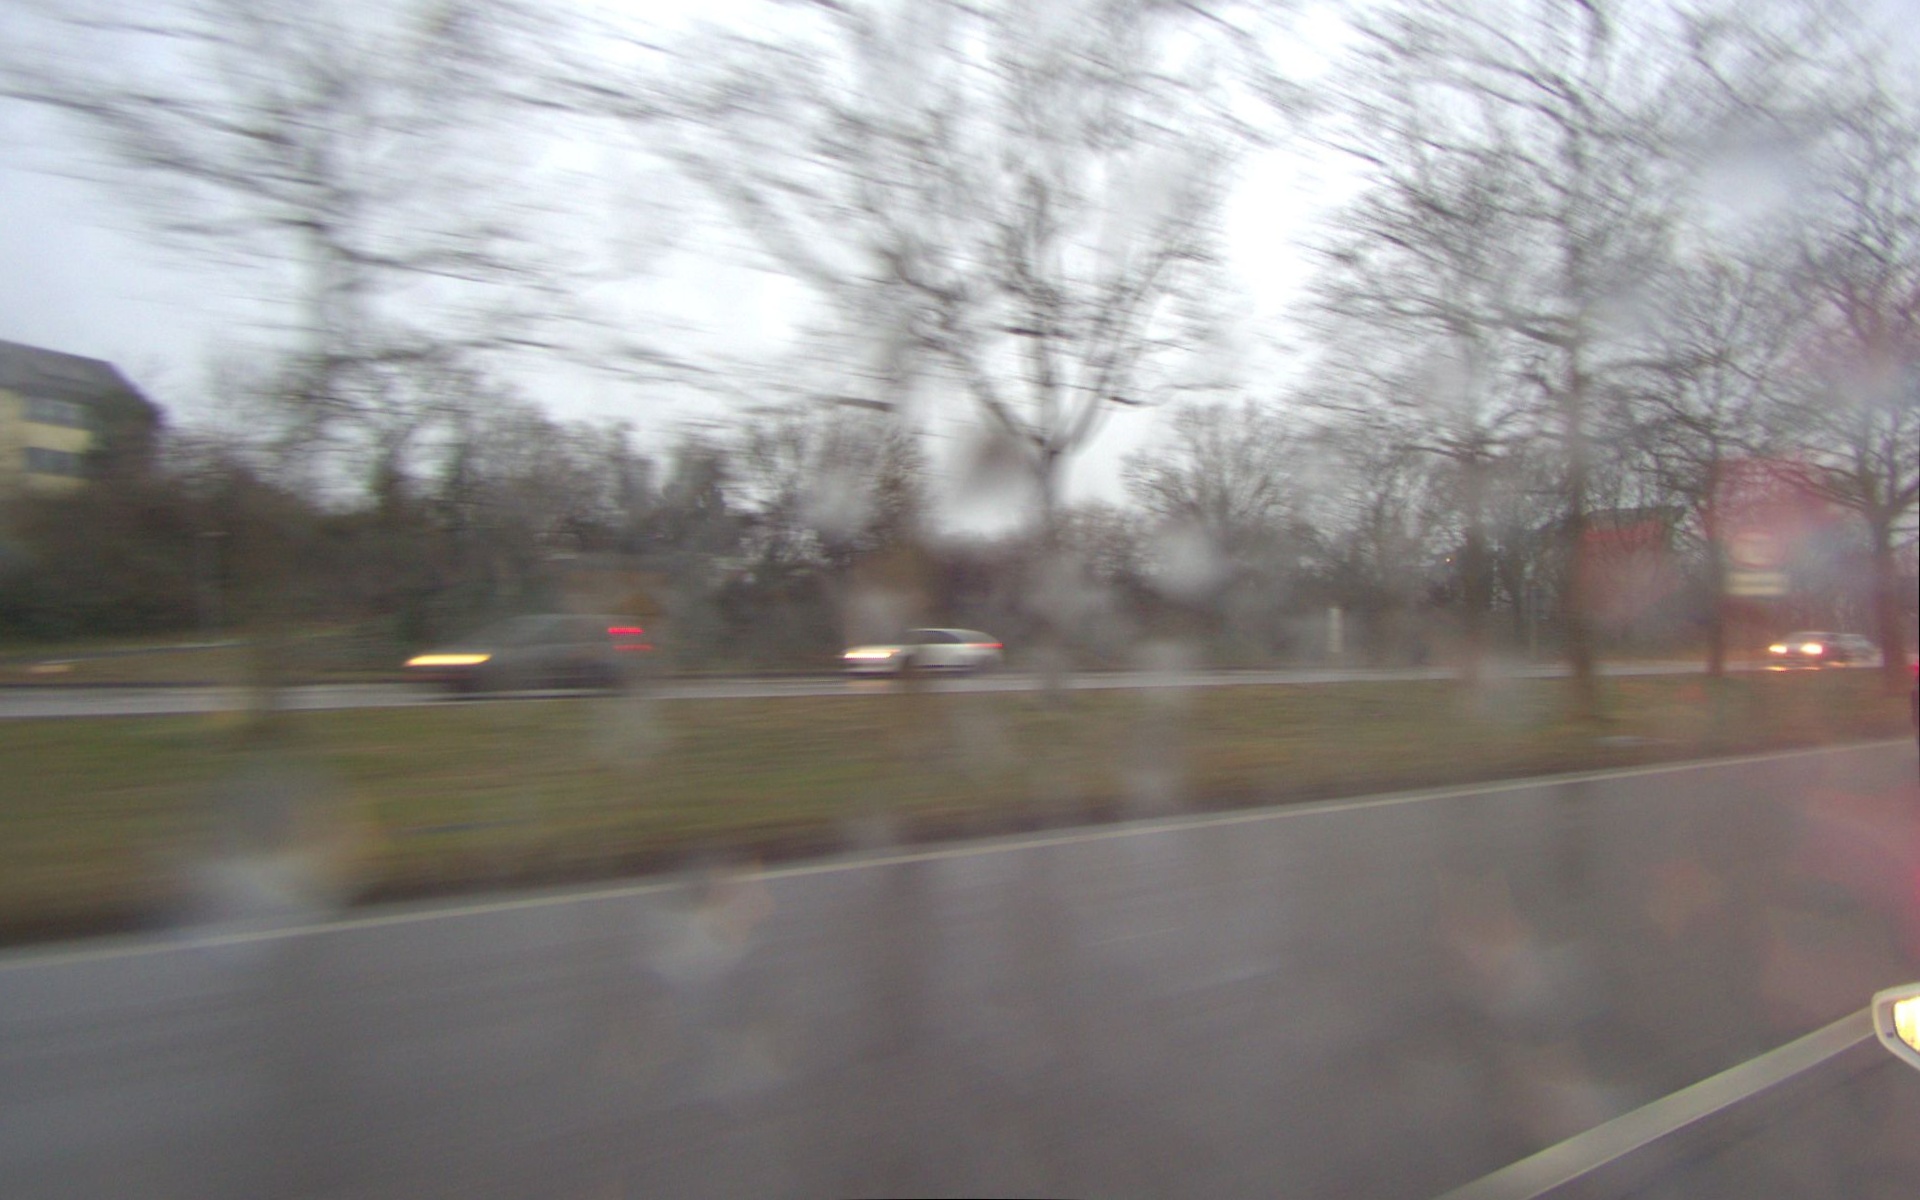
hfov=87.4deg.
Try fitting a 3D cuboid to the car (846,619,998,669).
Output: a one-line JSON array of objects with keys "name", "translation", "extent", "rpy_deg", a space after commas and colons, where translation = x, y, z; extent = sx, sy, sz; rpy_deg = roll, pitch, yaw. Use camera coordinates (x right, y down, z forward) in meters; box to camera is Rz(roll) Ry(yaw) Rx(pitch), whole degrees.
[{"name": "car", "translation": [-1.122, 1.337, 30.311], "extent": [4.245, 1.413, 1.742], "rpy_deg": [2, -2, -27]}]

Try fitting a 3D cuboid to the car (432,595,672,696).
[{"name": "car", "translation": [-7.539, 0.826, 18.650], "extent": [3.934, 1.704, 1.610], "rpy_deg": [2, -1, -30]}]

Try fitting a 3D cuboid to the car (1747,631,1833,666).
[{"name": "car", "translation": [37.299, 2.186, 45.137], "extent": [3.931, 1.444, 1.740], "rpy_deg": [2, -2, -30]}]

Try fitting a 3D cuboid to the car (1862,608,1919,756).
[{"name": "car", "translation": [12.706, 0.980, 11.805], "extent": [4.260, 1.623, 1.983], "rpy_deg": [2, 0, -32]}]
